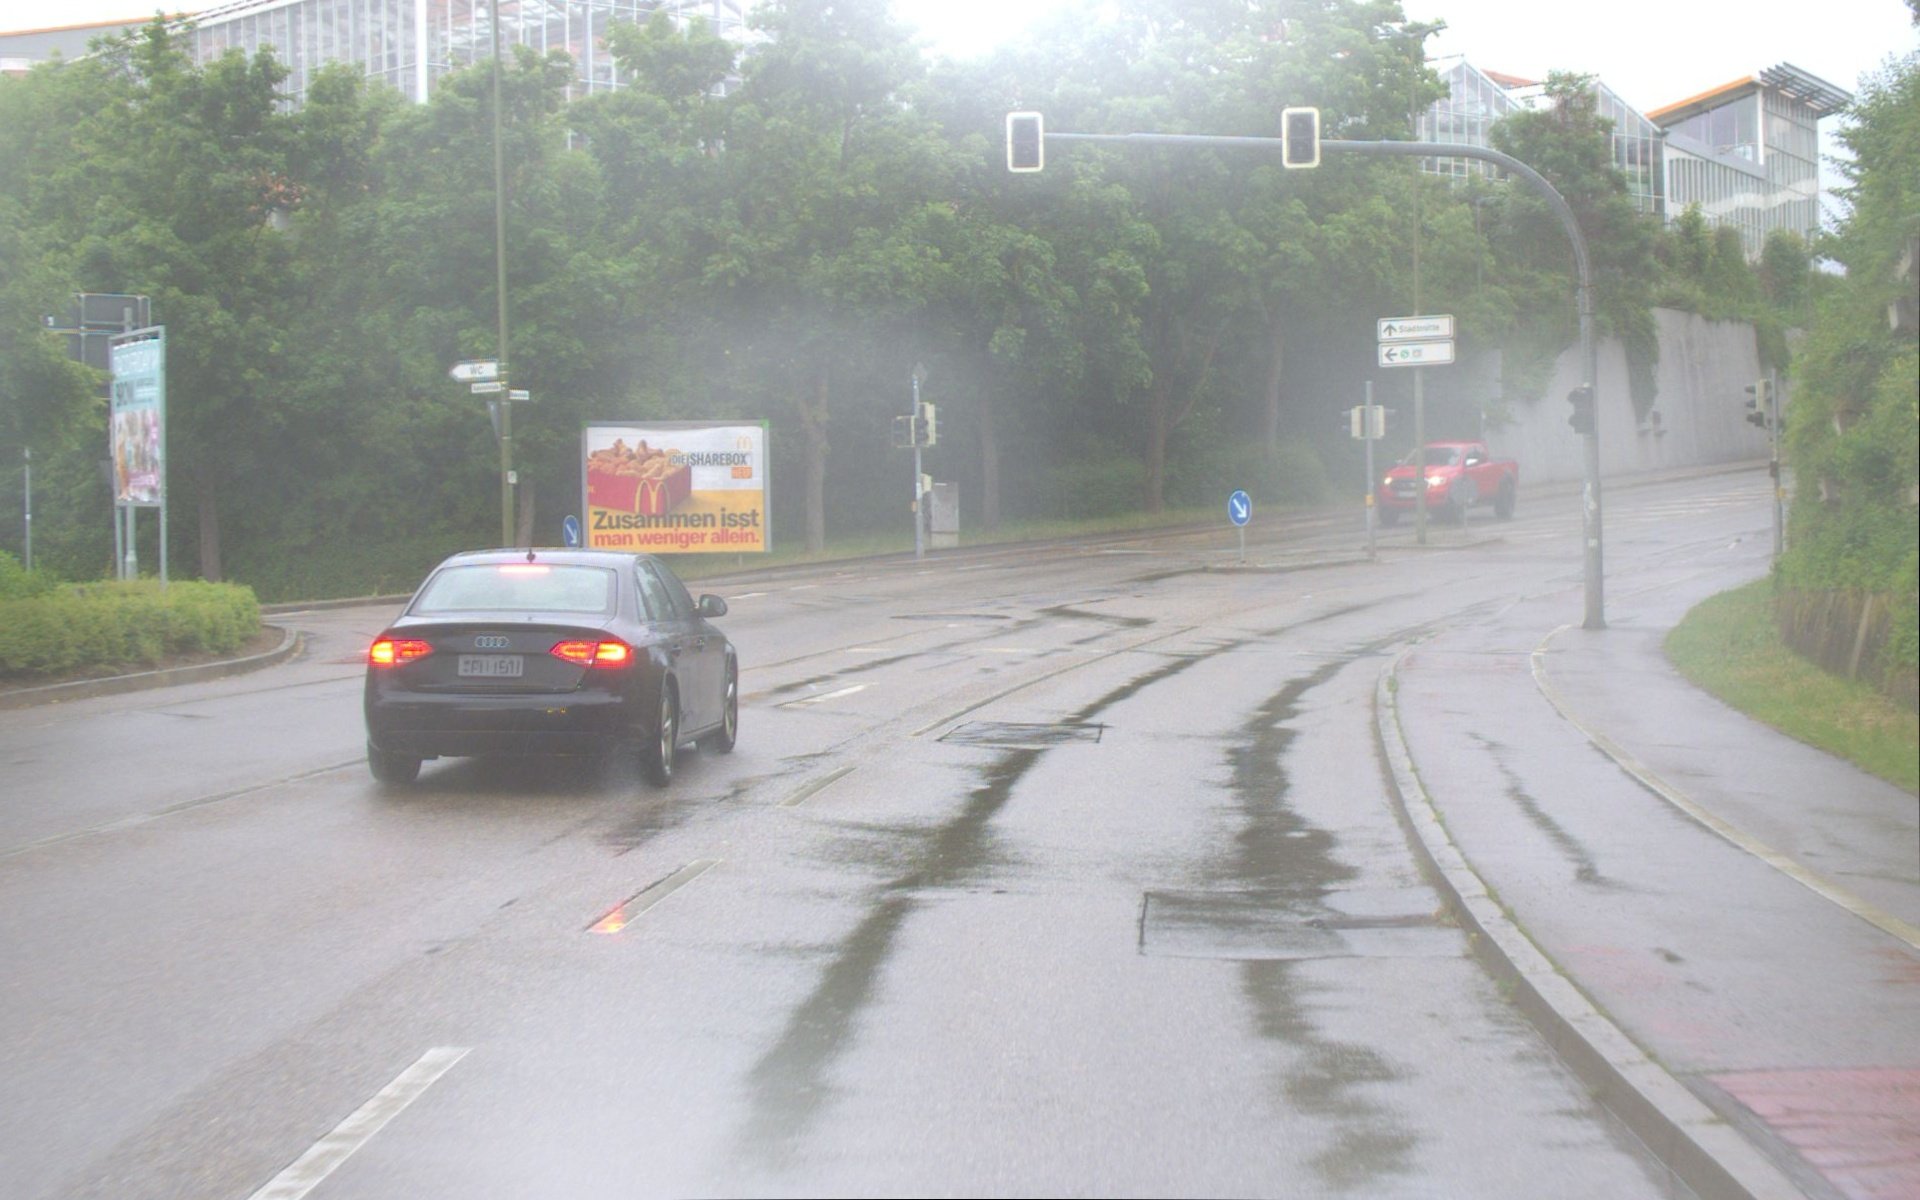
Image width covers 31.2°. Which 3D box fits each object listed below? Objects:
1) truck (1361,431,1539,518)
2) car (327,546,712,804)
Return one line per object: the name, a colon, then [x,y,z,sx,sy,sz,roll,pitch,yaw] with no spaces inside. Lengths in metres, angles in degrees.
truck: [11.771,-2.971,82.368,1.998,2.007,5.327,1,2,35]
car: [-2.618,0.392,21.305,1.754,1.390,4.000,0,2,2]
